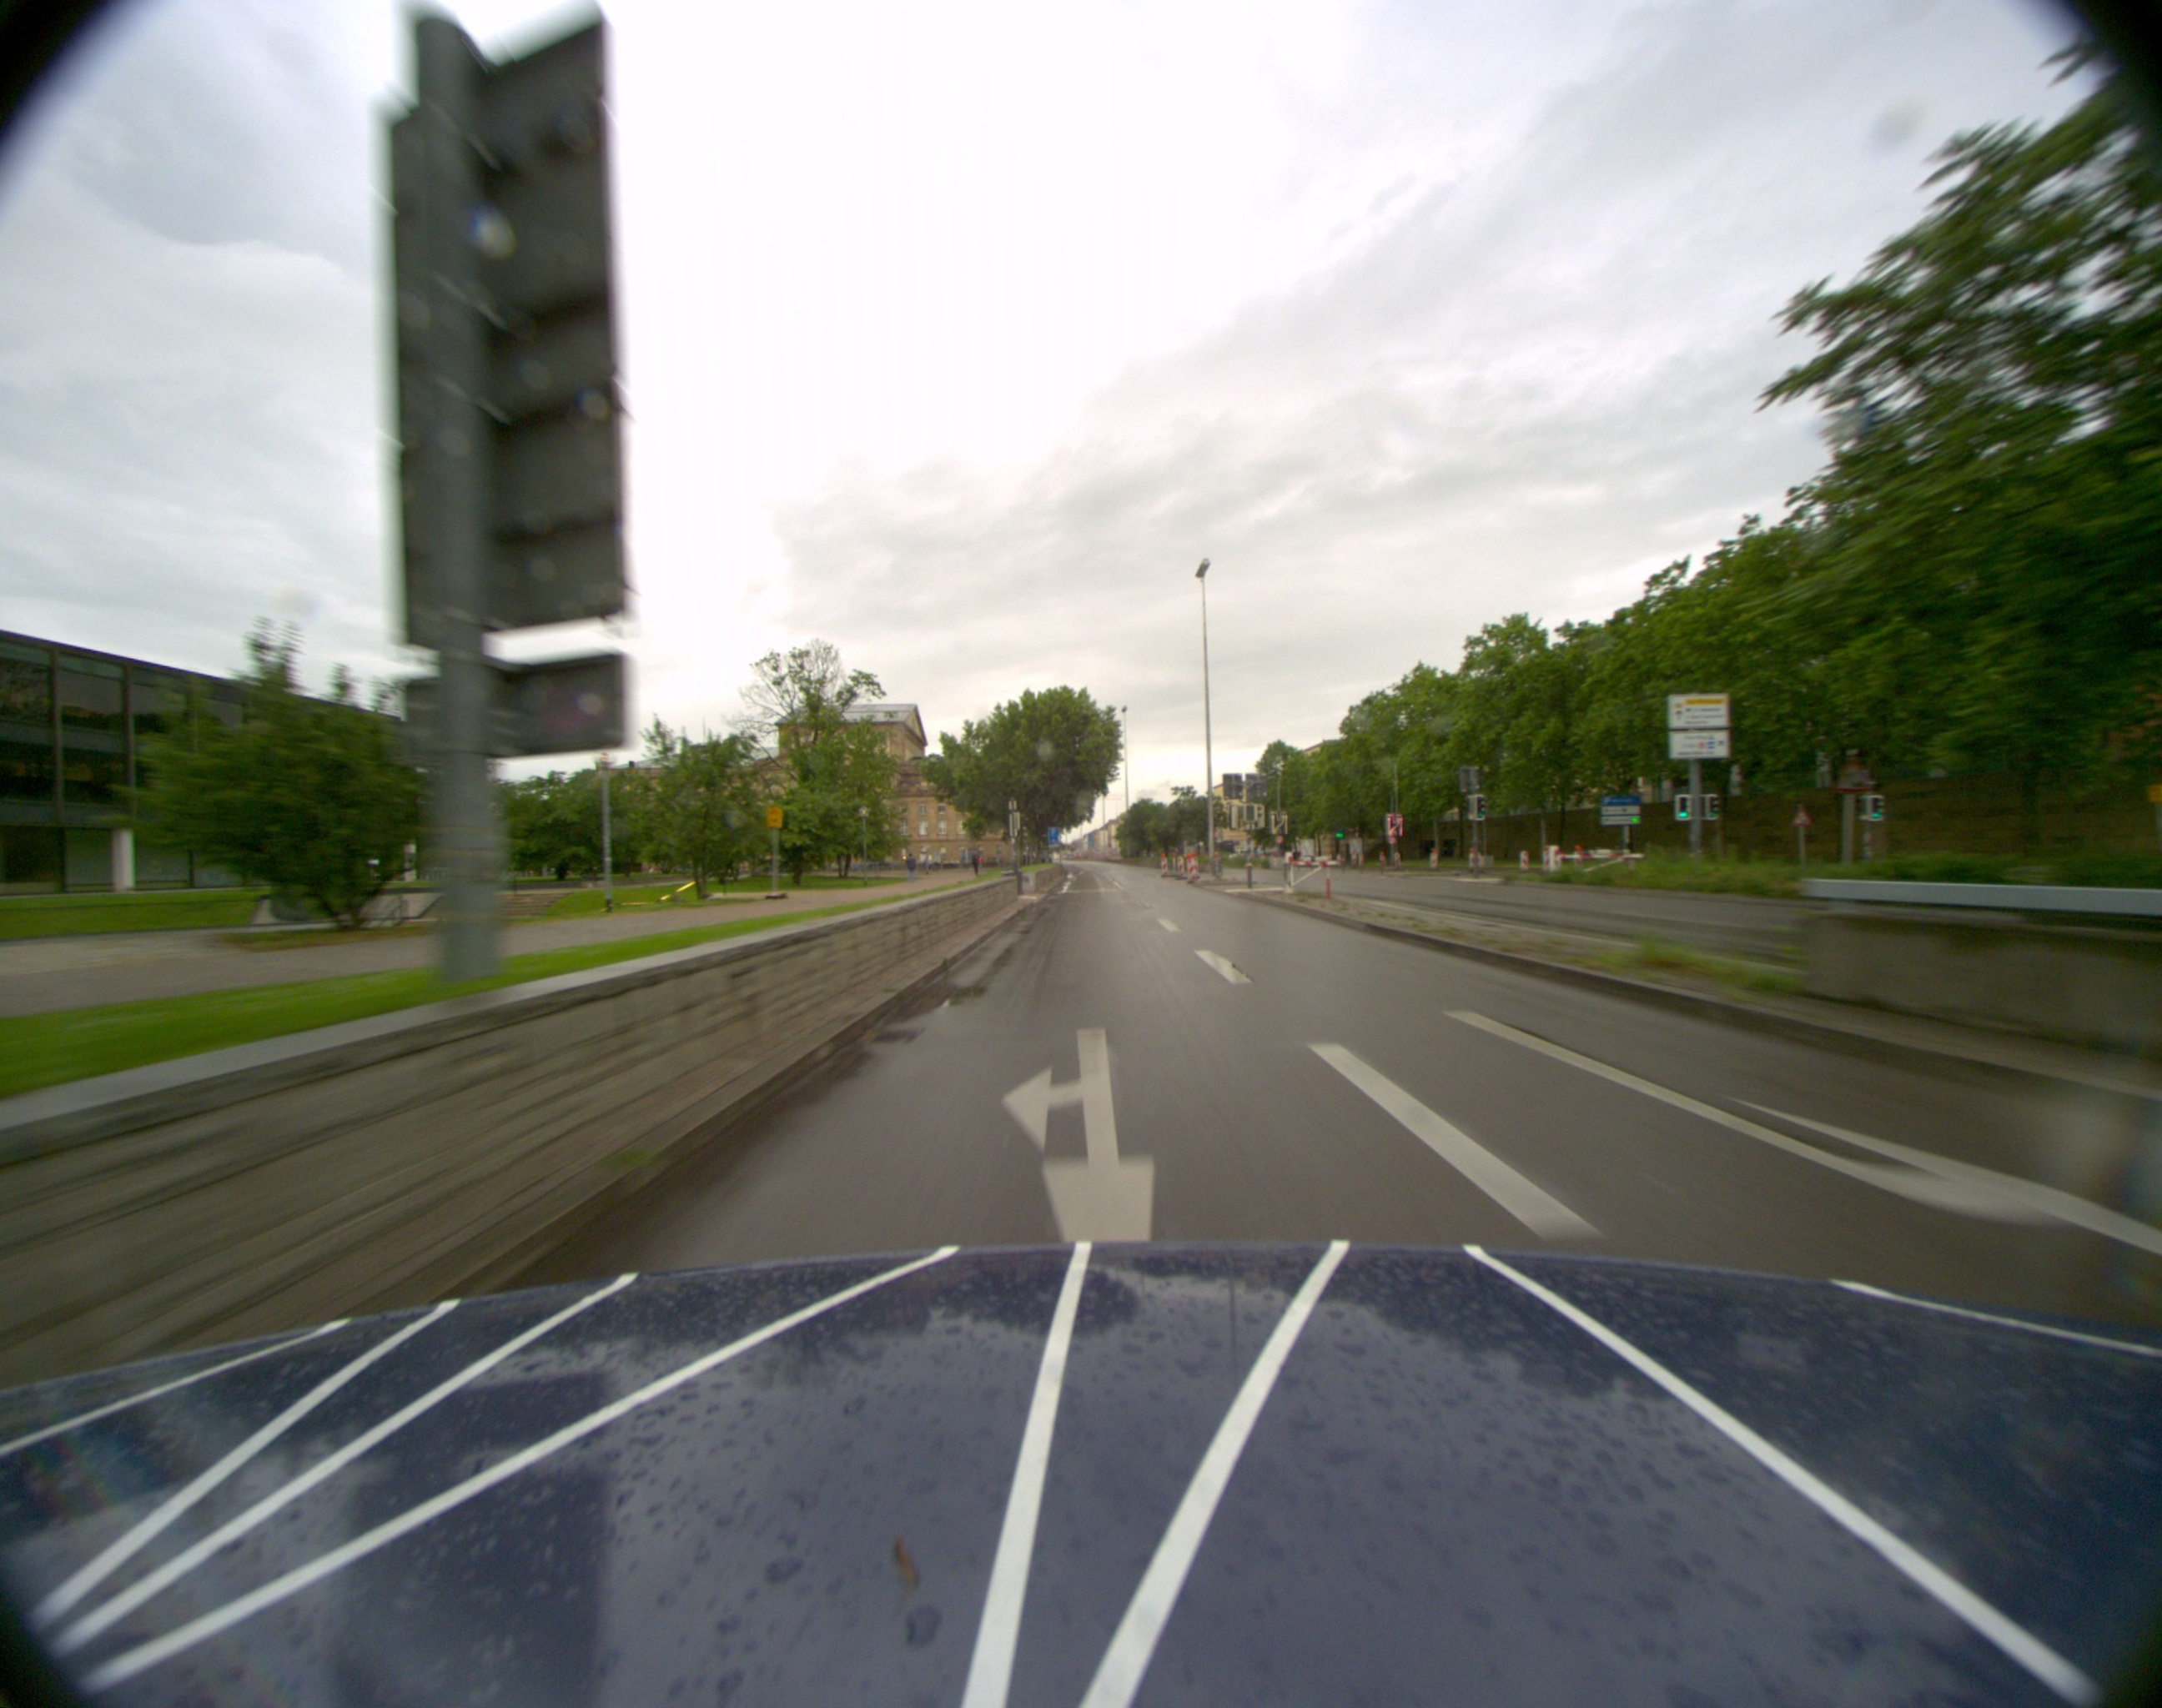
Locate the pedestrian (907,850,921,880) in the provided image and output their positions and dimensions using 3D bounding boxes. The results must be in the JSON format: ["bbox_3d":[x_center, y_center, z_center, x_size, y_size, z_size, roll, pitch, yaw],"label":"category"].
[{"bbox_3d":[-9.363,0.617,42.650,0.671,1.655,0.587,-1,1,-17],"label":"pedestrian"}]

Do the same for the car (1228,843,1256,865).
[{"bbox_3d":[18.374,-0.012,86.890,1.999,2.286,4.227,-3,1,-3],"label":"car"}]

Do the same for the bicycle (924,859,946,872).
[{"bbox_3d":[-12.751,1.008,66.287,1.758,1.059,0.827,-3,1,-21],"label":"bicycle"}]

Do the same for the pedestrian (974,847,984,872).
[{"bbox_3d":[-7.459,0.377,55.560,0.594,1.764,0.587,-3,1,-1],"label":"pedestrian"}]

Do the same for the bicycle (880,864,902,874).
[{"bbox_3d":[-15.697,1.218,62.773,1.627,0.791,0.509,-2,1,-21],"label":"bicycle"}]
